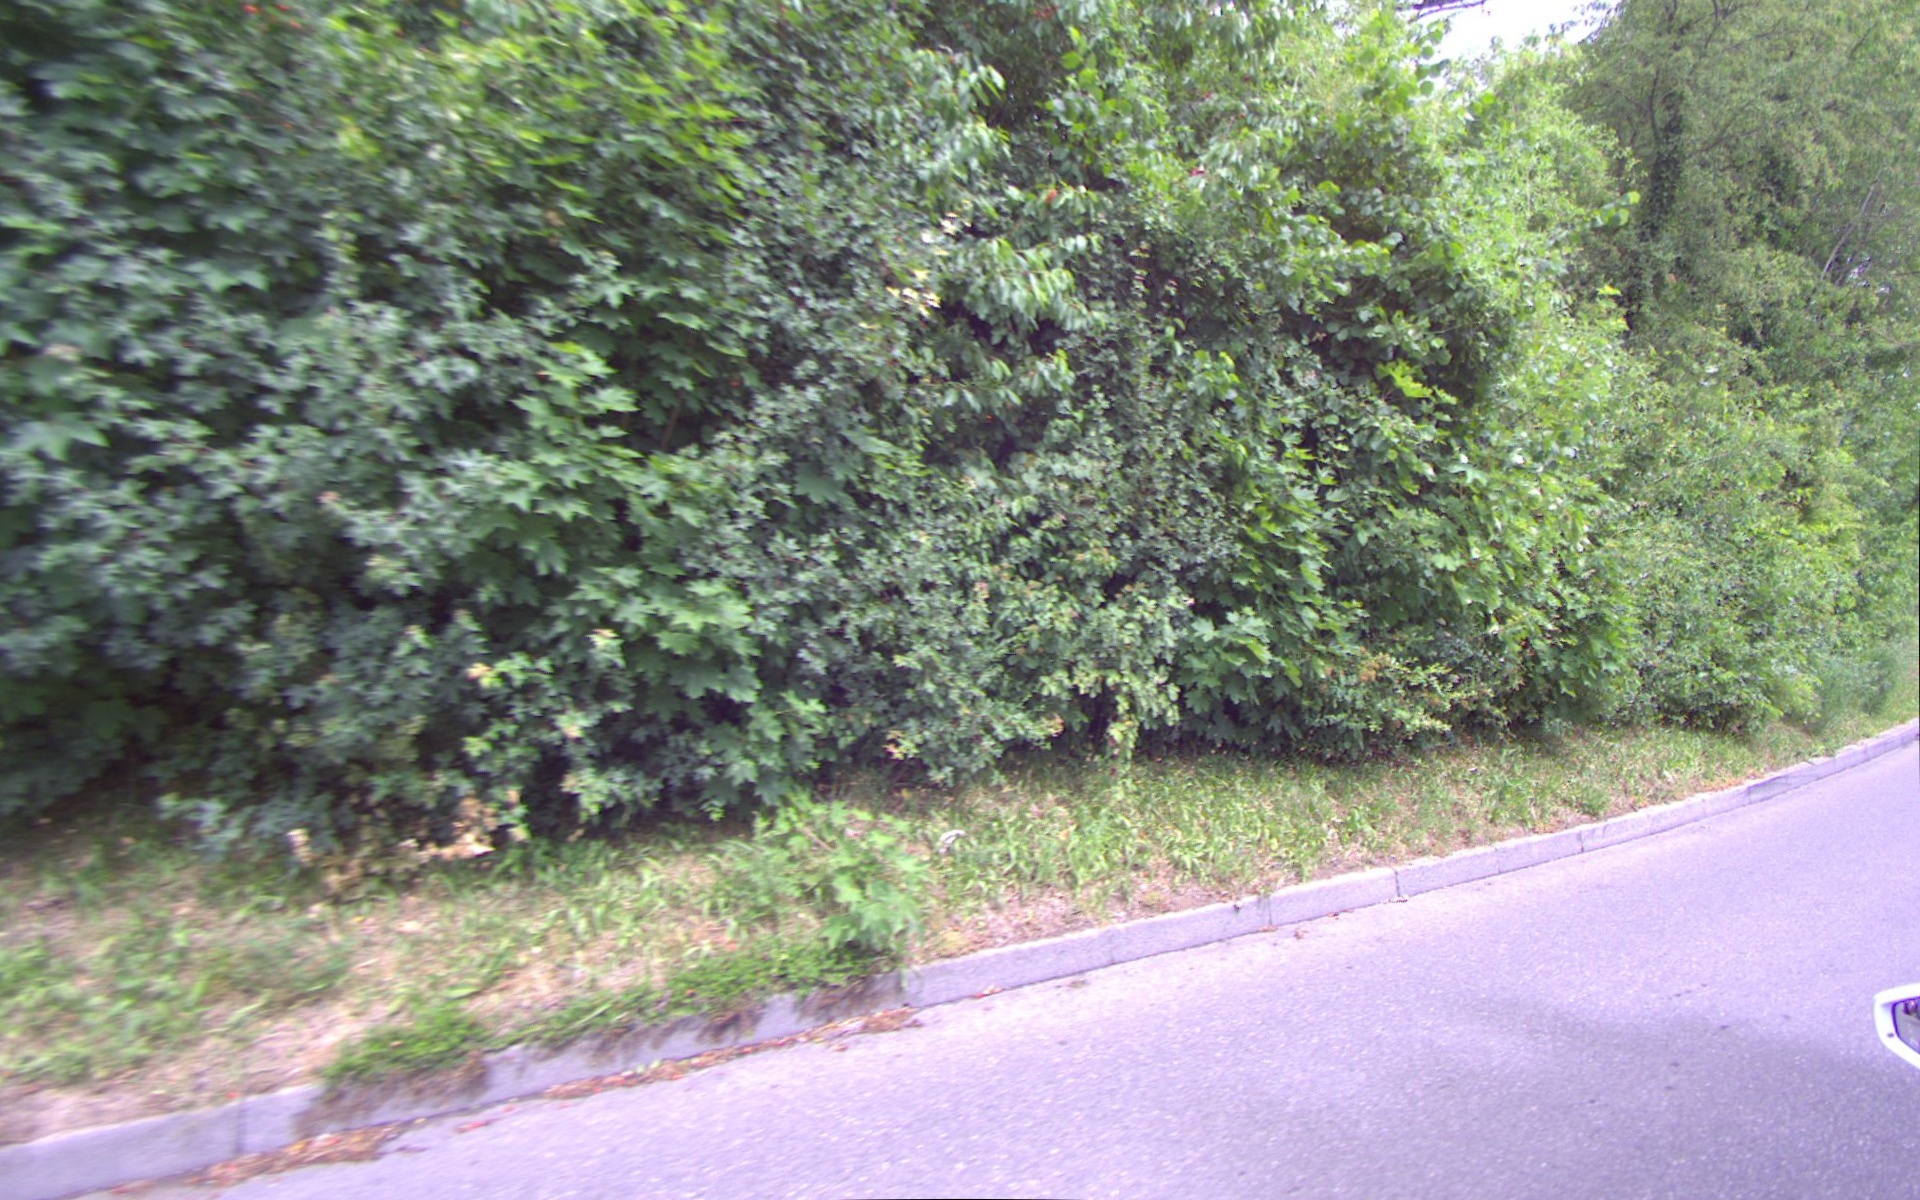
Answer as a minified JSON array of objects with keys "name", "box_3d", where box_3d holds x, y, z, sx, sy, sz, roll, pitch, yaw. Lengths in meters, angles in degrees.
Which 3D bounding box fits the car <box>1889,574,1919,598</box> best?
[{"name":"car","box_3d":[55.653,-0.839,58.276,1.815,1.350,3.989,2,2,33]}]

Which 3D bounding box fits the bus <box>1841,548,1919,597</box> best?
[{"name":"bus","box_3d":[58.336,-1.791,63.697,2.501,2.729,5.230,7,7,30]}]
